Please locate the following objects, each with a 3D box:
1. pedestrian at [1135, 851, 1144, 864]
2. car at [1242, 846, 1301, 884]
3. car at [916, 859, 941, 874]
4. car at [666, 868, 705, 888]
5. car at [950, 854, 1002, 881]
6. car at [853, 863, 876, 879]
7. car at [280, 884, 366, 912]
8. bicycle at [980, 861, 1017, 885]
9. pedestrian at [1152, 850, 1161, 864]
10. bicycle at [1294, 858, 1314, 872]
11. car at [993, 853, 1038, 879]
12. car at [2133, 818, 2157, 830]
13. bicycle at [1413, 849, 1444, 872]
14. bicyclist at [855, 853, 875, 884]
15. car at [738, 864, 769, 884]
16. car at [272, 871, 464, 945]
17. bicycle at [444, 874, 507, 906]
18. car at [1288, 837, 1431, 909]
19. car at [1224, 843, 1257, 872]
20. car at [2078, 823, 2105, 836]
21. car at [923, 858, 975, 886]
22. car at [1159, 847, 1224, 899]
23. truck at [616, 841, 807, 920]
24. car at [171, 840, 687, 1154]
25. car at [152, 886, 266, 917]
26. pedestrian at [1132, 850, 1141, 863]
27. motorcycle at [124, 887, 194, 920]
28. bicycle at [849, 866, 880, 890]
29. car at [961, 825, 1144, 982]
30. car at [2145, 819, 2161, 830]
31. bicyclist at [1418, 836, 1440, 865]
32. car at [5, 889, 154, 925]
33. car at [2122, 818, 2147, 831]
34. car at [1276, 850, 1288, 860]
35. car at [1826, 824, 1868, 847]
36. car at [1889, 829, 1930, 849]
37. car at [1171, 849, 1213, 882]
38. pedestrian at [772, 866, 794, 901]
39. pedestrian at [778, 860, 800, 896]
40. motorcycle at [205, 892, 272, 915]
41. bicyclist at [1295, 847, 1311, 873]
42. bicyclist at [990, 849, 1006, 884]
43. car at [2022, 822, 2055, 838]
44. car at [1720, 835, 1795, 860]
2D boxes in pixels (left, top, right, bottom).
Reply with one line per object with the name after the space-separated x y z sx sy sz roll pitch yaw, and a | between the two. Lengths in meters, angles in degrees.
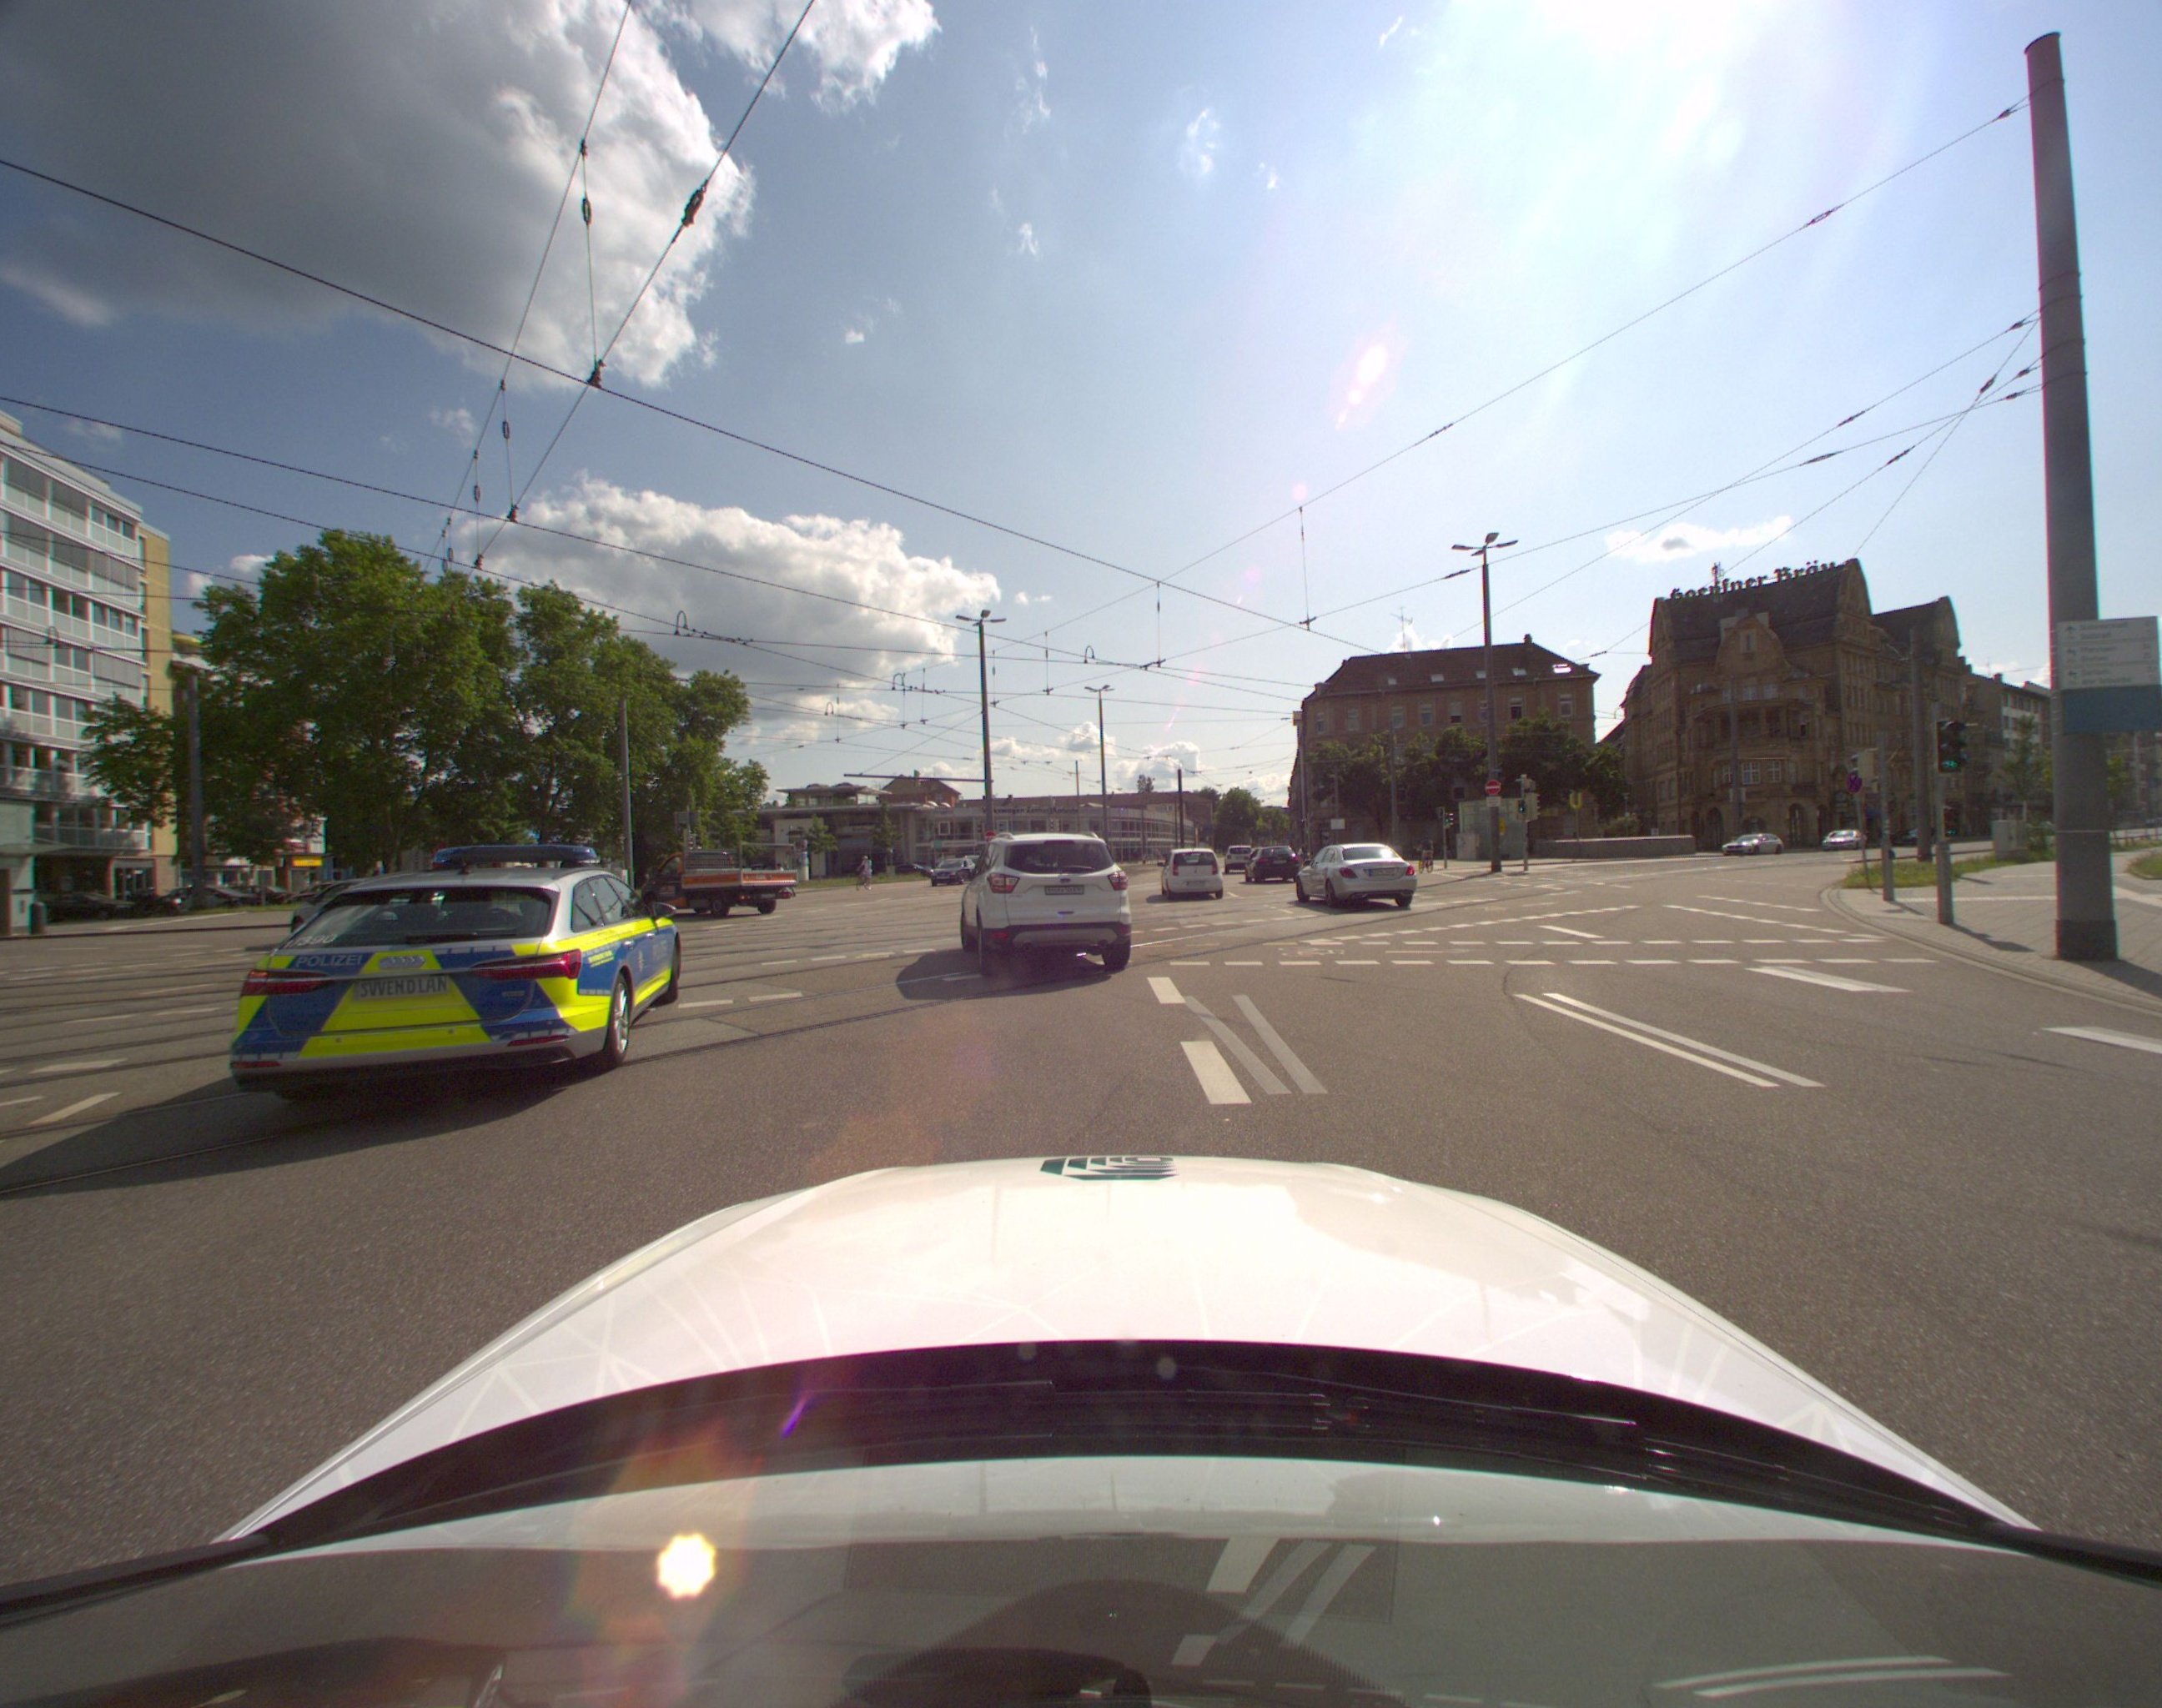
7.600 0.448 106.278 0.867 1.737 0.882 -1 -1 30 | pedestrian
7.522 0.398 32.503 1.691 1.372 4.138 -2 0 5 | car
-17.149 1.363 91.962 1.811 1.534 3.919 -4 -1 3 | car
-41.960 2.536 86.541 1.965 1.937 5.058 -4 -1 -6 | car
-6.803 0.840 53.201 1.724 1.573 4.019 -3 0 17 | car
-22.755 1.784 85.692 1.818 1.534 3.904 -3 -1 -9 | car
-41.883 2.405 45.121 1.910 1.413 3.976 -2 -1 -17 | car
-4.137 0.931 40.826 1.771 1.125 0.640 -1 0 2 | bicycle
10.181 0.395 110.038 0.867 1.922 0.881 -1 -1 28 | pedestrian
12.726 0.606 46.517 0.583 0.775 1.619 -2 0 -3 | bicycle
-4.188 0.740 52.726 1.677 1.461 3.983 -3 0 13 | car
167.163 -4.659 127.970 4.015 1.816 1.979 -1 -1 -33 | car
15.428 0.273 36.179 0.841 0.970 1.967 -3 0 11 | bicycle
-12.019 0.821 45.342 0.755 1.683 0.762 -3 0 9 | bicyclist
-34.595 2.128 86.167 1.993 2.014 4.217 -3 -1 -9 | car
-16.511 1.226 18.858 3.950 1.474 1.865 -2 0 25 | car
-28.190 1.662 37.947 2.176 1.414 0.807 -1 0 -21 | bicycle
6.465 0.407 19.522 1.923 1.455 4.762 -2 0 2 | car
9.613 0.250 49.368 1.825 1.652 4.011 -1 -1 10 | car
143.098 -3.441 115.357 4.015 1.816 1.979 -1 -1 -33 | car
-7.280 0.953 45.176 1.727 1.373 3.650 -3 0 9 | car
3.342 0.535 25.132 1.642 1.422 4.004 -2 0 3 | car
-11.188 0.802 24.503 5.776 2.155 2.361 -2 -1 32 | truck
-4.500 0.738 6.604 1.886 1.568 4.583 -1 0 -20 | car
-49.849 2.667 46.659 4.001 1.495 1.790 -2 0 -21 | car
7.112 0.319 104.530 0.867 1.737 0.882 -1 -1 30 | pedestrian
-38.474 2.074 33.983 2.196 1.238 0.909 -2 1 12 | motorcycle
-12.015 1.327 45.299 0.755 1.192 2.156 -3 0 10 | bicycle
-0.581 0.550 10.994 1.828 1.664 3.940 -2 0 -11 | car
178.841 -4.880 135.409 4.015 1.816 1.979 -1 -1 -33 | car
15.410 -0.167 36.084 0.631 1.220 0.926 -3 0 10 | bicyclist
-45.936 2.405 37.479 4.002 1.398 1.660 -2 -1 -21 | car
158.061 -4.359 122.189 4.015 1.816 1.979 -1 -1 -33 | car
34.111 0.121 138.199 1.823 1.652 4.016 -1 -1 15 | car
54.370 -1.298 57.848 1.966 1.484 4.025 -3 -1 41 | car
72.590 -1.322 71.335 3.941 1.683 1.703 -1 -1 -33 | car
5.161 0.536 38.220 1.840 1.419 3.685 -1 -1 6 | car
-14.757 1.447 40.365 0.930 1.744 0.583 0 -1 -34 | pedestrian
-14.199 1.145 39.600 0.930 1.744 0.583 0 -1 -34 | pedestrian
-40.012 2.335 38.686 0.801 0.917 2.057 -2 1 32 | motorcycle
12.692 0.364 46.507 0.607 1.451 0.773 -2 -1 -4 | bicyclist
-4.154 0.620 40.858 0.657 1.738 0.640 -1 0 2 | bicyclist
111.200 -2.779 94.589 4.015 1.816 1.979 -1 -1 -33 | car
45.180 -0.445 54.397 4.545 1.430 2.030 -2 -2 -24 | car
